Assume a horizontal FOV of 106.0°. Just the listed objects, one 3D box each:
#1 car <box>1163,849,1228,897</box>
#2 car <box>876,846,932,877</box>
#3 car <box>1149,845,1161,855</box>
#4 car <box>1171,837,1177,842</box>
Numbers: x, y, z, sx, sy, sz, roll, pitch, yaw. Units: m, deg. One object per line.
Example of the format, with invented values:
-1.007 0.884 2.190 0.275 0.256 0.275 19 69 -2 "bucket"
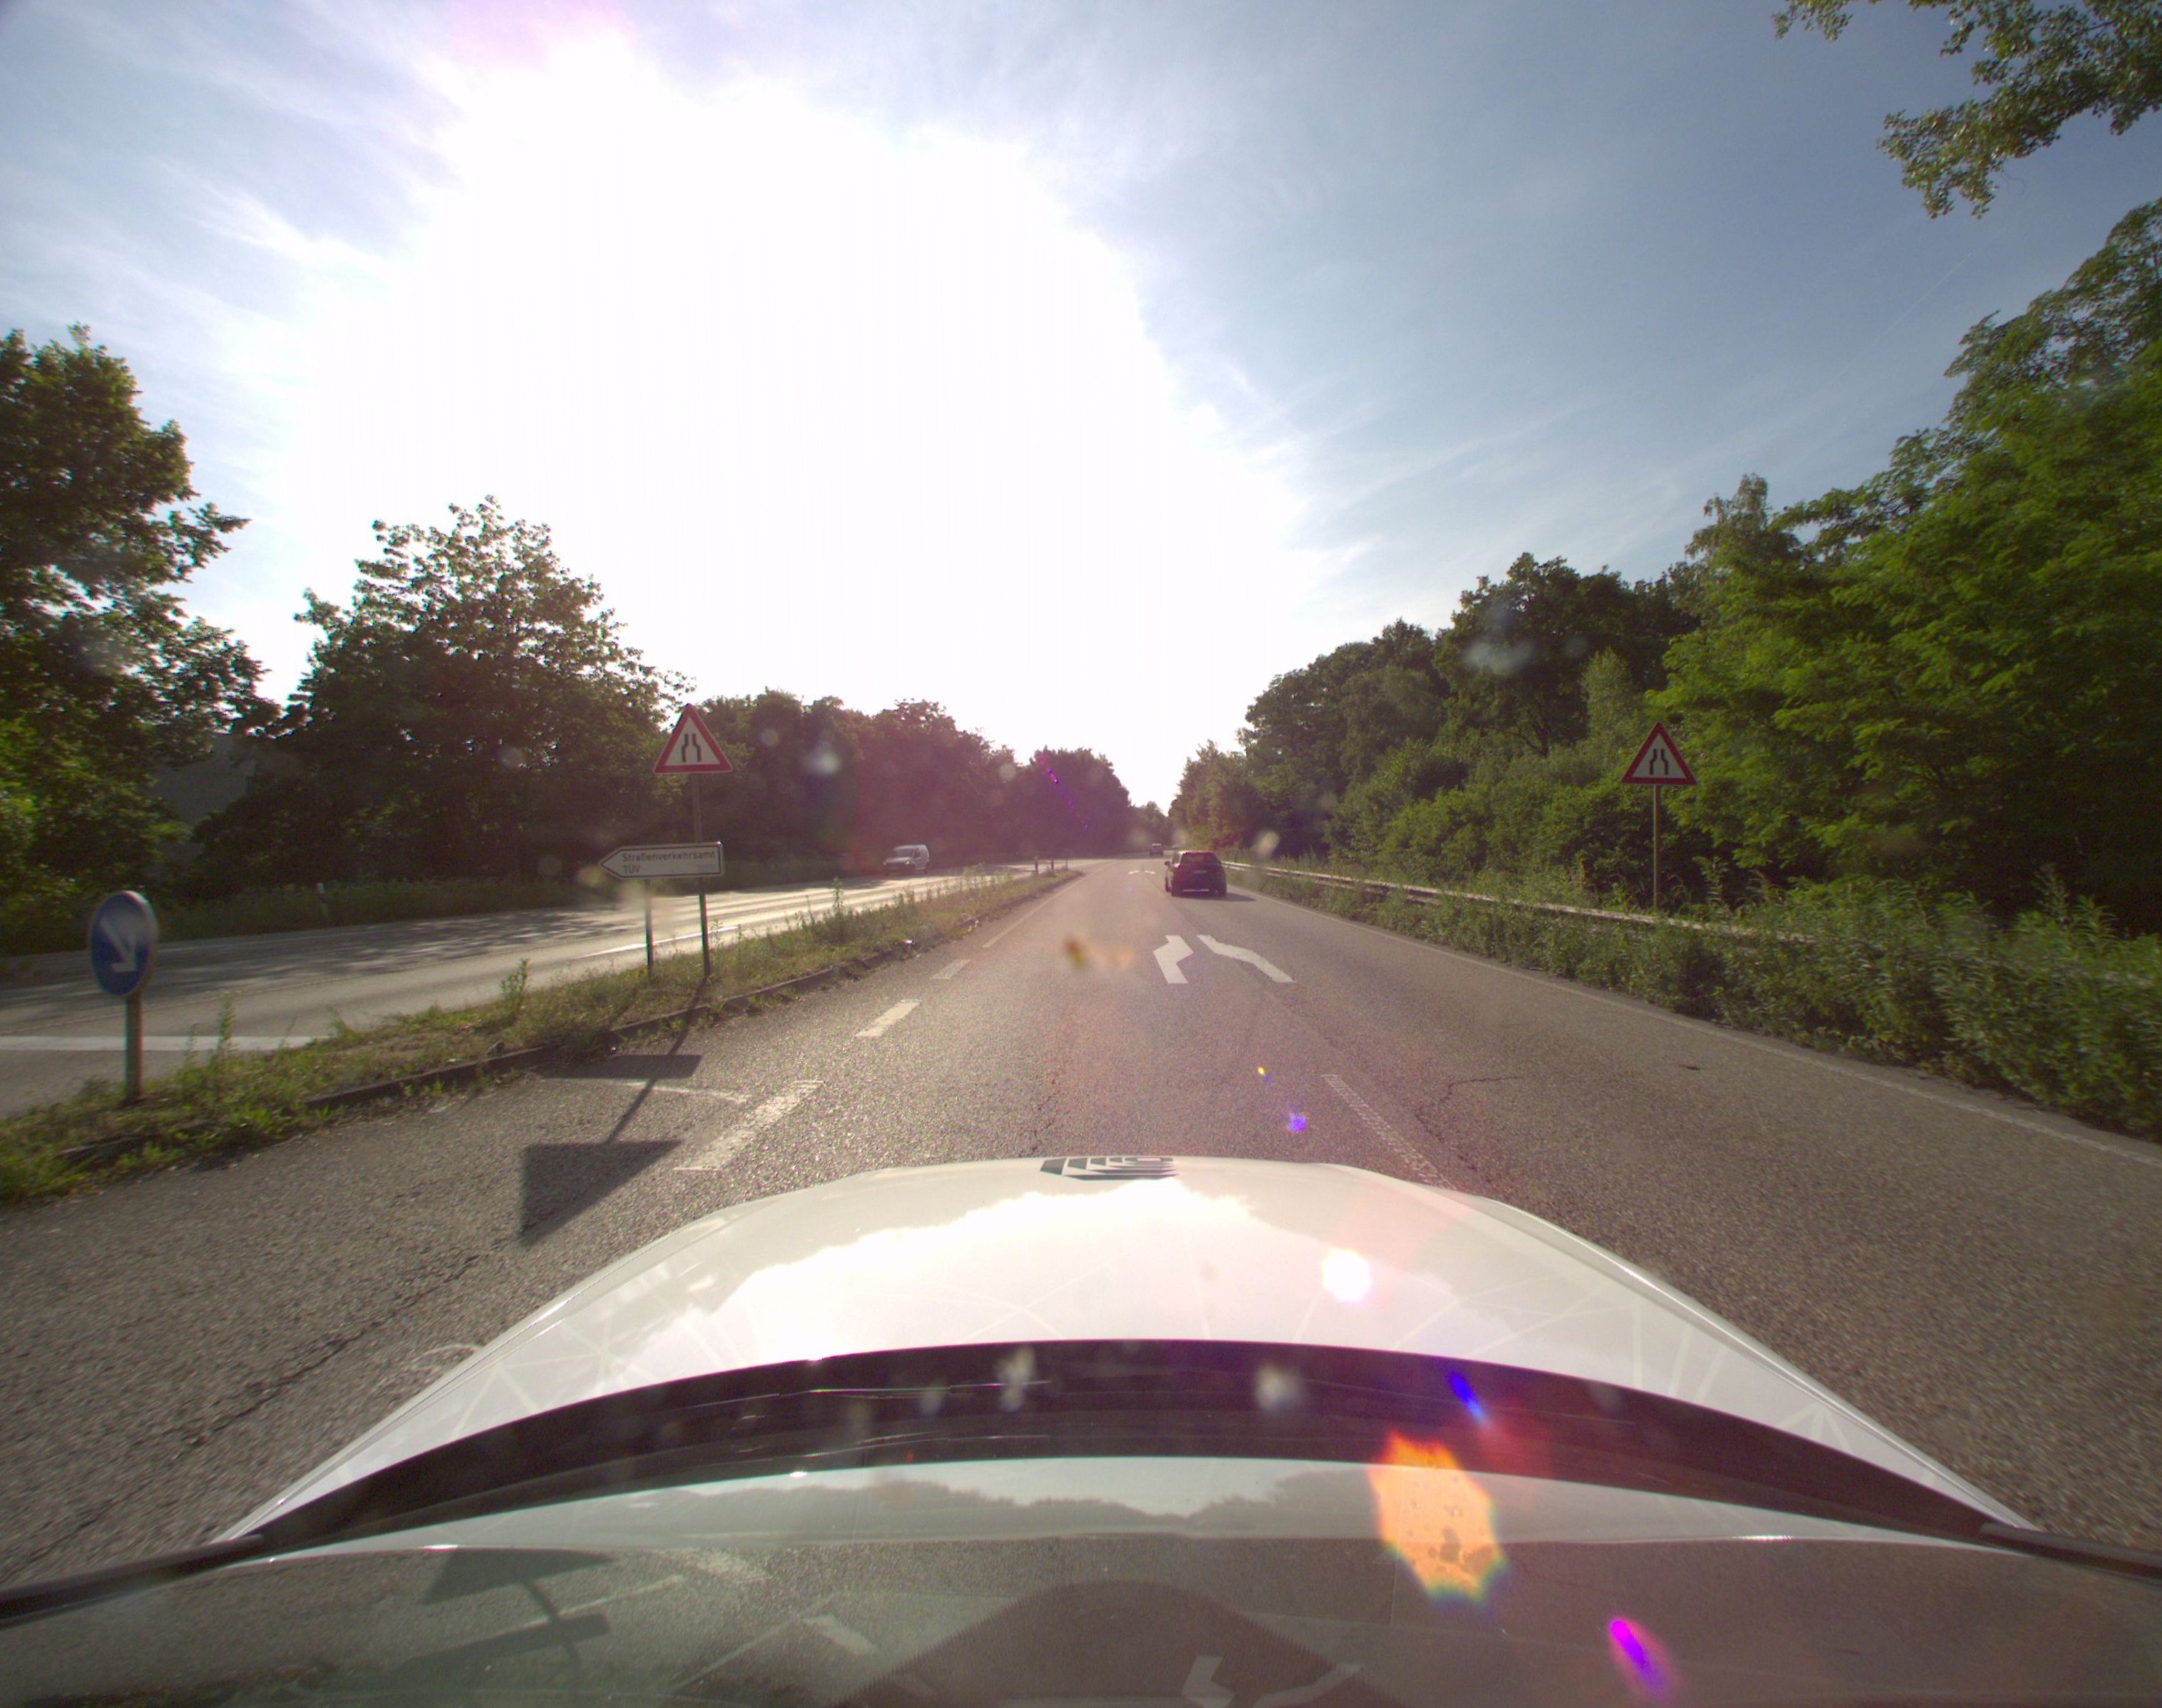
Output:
3.698 0.607 26.874 1.812 1.468 3.875 -1 -1 3 "car"
-10.721 0.461 49.732 1.840 1.786 4.679 -1 -1 8 "car"
10.529 -0.556 115.828 1.753 1.380 3.976 -1 -1 5 "car"
26.648 -4.242 233.381 1.753 1.380 3.976 -1 -1 5 "car"
